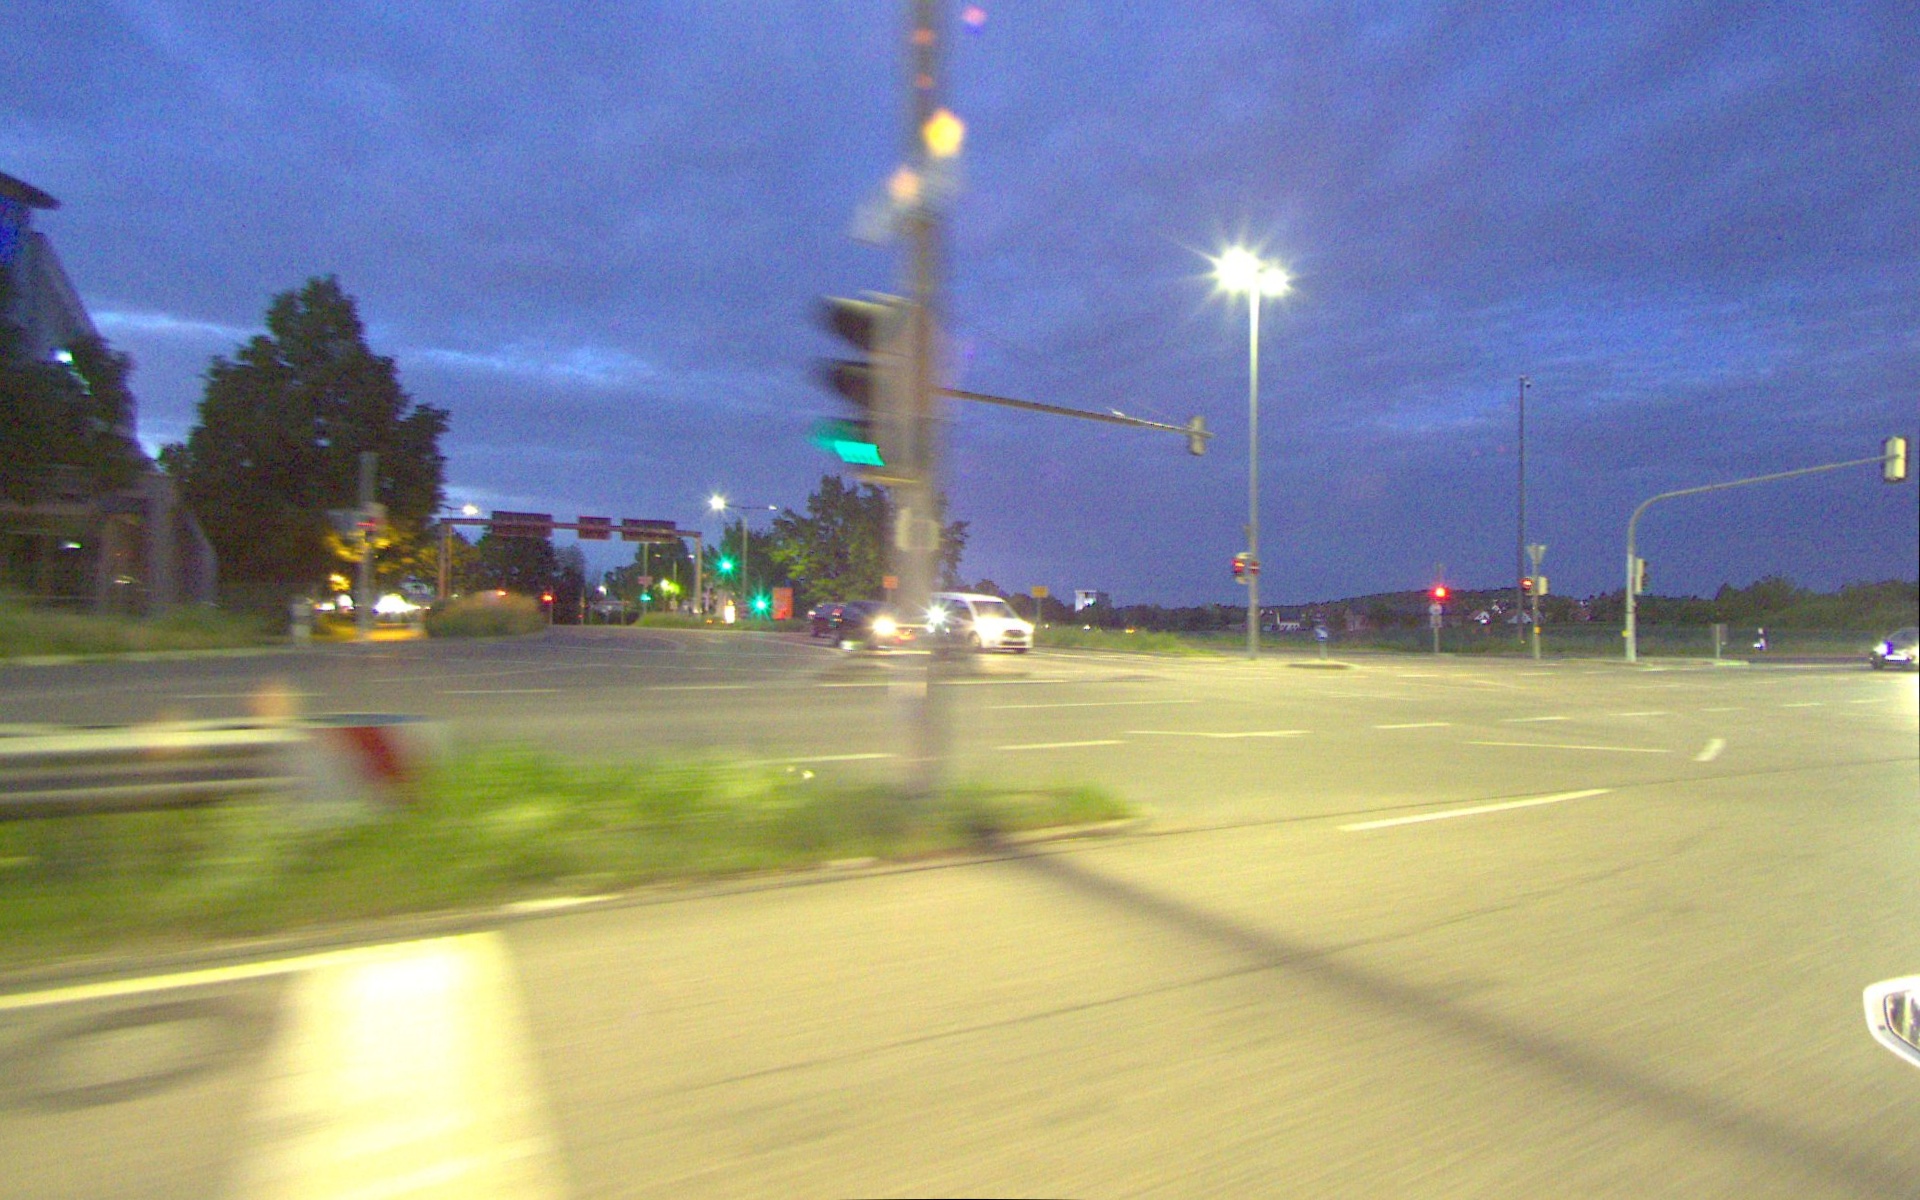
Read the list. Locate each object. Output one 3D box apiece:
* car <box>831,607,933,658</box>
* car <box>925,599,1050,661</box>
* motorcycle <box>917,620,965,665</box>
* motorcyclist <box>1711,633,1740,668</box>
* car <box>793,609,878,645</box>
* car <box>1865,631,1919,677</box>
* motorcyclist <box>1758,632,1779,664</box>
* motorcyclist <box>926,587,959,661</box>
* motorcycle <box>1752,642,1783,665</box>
[{"bbox_3d":[-2.510,0.994,31.480,1.754,1.466,3.751,2,-1,-29],"label":"car"},{"bbox_3d":[0.792,0.920,32.350,1.827,1.838,4.738,2,-1,-29],"label":"car"},{"bbox_3d":[-0.559,1.168,28.174,0.664,1.179,1.797,1,0,-25],"label":"motorcycle"},{"bbox_3d":[42.145,2.798,55.290,0.859,1.831,0.911,4,-7,-27],"label":"motorcyclist"},{"bbox_3d":[-5.383,1.139,43.037,1.855,1.416,4.798,2,-1,-30],"label":"car"},{"bbox_3d":[33.759,1.867,35.110,4.236,1.465,1.774,1,0,-27],"label":"car"},{"bbox_3d":[46.091,2.737,57.242,0.782,1.781,0.678,4,-6,-34],"label":"motorcyclist"},{"bbox_3d":[-0.492,0.676,28.260,0.628,2.040,0.763,1,0,-25],"label":"motorcyclist"},{"bbox_3d":[45.945,3.037,57.131,1.803,1.196,0.842,5,-6,-35],"label":"motorcycle"}]
